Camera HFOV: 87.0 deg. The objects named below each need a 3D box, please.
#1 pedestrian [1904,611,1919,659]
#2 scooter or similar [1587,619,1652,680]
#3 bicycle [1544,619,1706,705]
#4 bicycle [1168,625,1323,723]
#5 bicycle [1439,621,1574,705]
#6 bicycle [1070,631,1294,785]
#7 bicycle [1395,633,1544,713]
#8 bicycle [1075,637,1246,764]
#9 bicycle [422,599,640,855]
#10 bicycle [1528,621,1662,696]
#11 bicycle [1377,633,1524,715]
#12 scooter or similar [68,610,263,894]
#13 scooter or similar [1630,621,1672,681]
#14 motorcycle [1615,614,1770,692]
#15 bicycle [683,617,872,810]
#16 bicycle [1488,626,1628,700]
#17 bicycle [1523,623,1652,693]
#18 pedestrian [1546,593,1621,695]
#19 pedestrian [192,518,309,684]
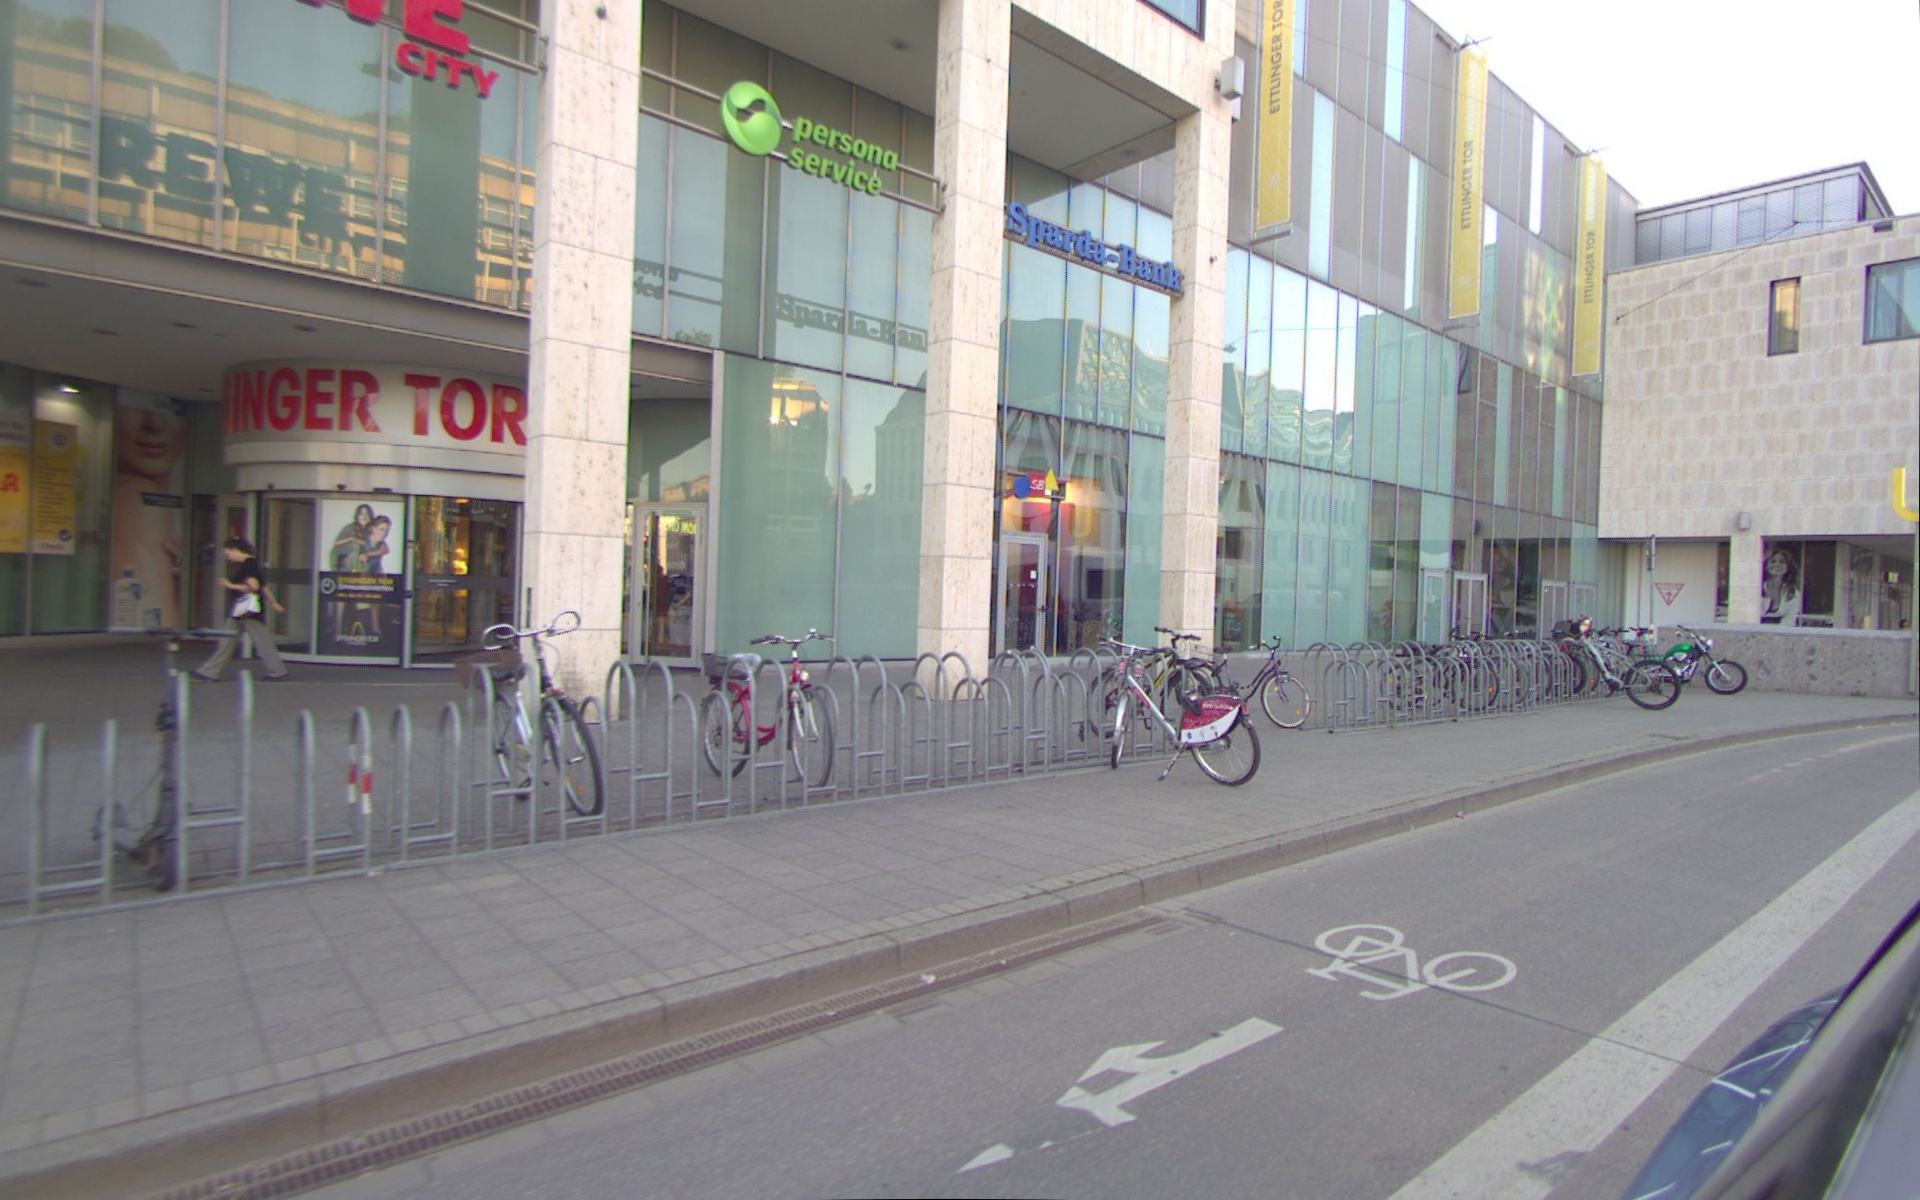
[{"bbox_3d":[32.475,1.188,34.266,0.761,1.587,0.635,4,-1,-41],"label":"pedestrian"},{"bbox_3d":[14.577,1.089,22.383,1.099,1.273,0.397,1,0,12],"label":"scooter or similar"},{"bbox_3d":[10.178,0.915,15.573,0.559,1.143,1.995,2,1,-35],"label":"bicycle"},{"bbox_3d":[3.465,0.866,12.368,1.700,1.036,0.592,3,1,40],"label":"bicycle"},{"bbox_3d":[8.480,0.951,15.769,0.507,1.143,1.770,2,1,-37],"label":"bicycle"},{"bbox_3d":[1.738,0.806,8.237,0.559,1.061,1.904,2,-1,-35],"label":"bicycle"},{"bbox_3d":[7.167,1.003,14.306,0.507,0.948,1.811,2,1,-41],"label":"bicycle"},{"bbox_3d":[1.954,0.950,10.122,0.589,1.114,1.823,2,-2,-32],"label":"bicycle"},{"bbox_3d":[-2.685,0.666,6.211,0.662,1.275,1.870,2,1,-41],"label":"bicycle"},{"bbox_3d":[11.490,1.035,18.394,0.506,1.193,1.995,2,1,-35],"label":"bicycle"},{"bbox_3d":[6.700,0.984,13.890,0.507,0.948,1.741,2,1,-41],"label":"bicycle"},{"bbox_3d":[-3.966,0.660,5.032,0.662,1.174,1.278,2,0,-41],"label":"scooter or similar"},{"bbox_3d":[14.942,1.095,21.892,0.851,1.273,0.399,2,0,-29],"label":"scooter or similar"},{"bbox_3d":[14.253,0.991,19.757,0.892,1.350,2.302,1,1,-42],"label":"motorcycle"},{"bbox_3d":[-1.389,0.745,7.384,0.560,1.127,1.877,2,1,-36],"label":"bicycle"},{"bbox_3d":[10.053,1.030,17.095,0.545,1.144,1.994,2,-2,-35],"label":"bicycle"},{"bbox_3d":[11.739,1.055,19.003,0.506,1.143,1.995,2,1,-35],"label":"bicycle"},{"bbox_3d":[11.237,0.774,18.239,0.803,1.757,0.839,2,0,-33],"label":"pedestrian"},{"bbox_3d":[-8.143,-0.004,11.611,0.973,1.798,0.862,2,2,-41],"label":"pedestrian"}]
